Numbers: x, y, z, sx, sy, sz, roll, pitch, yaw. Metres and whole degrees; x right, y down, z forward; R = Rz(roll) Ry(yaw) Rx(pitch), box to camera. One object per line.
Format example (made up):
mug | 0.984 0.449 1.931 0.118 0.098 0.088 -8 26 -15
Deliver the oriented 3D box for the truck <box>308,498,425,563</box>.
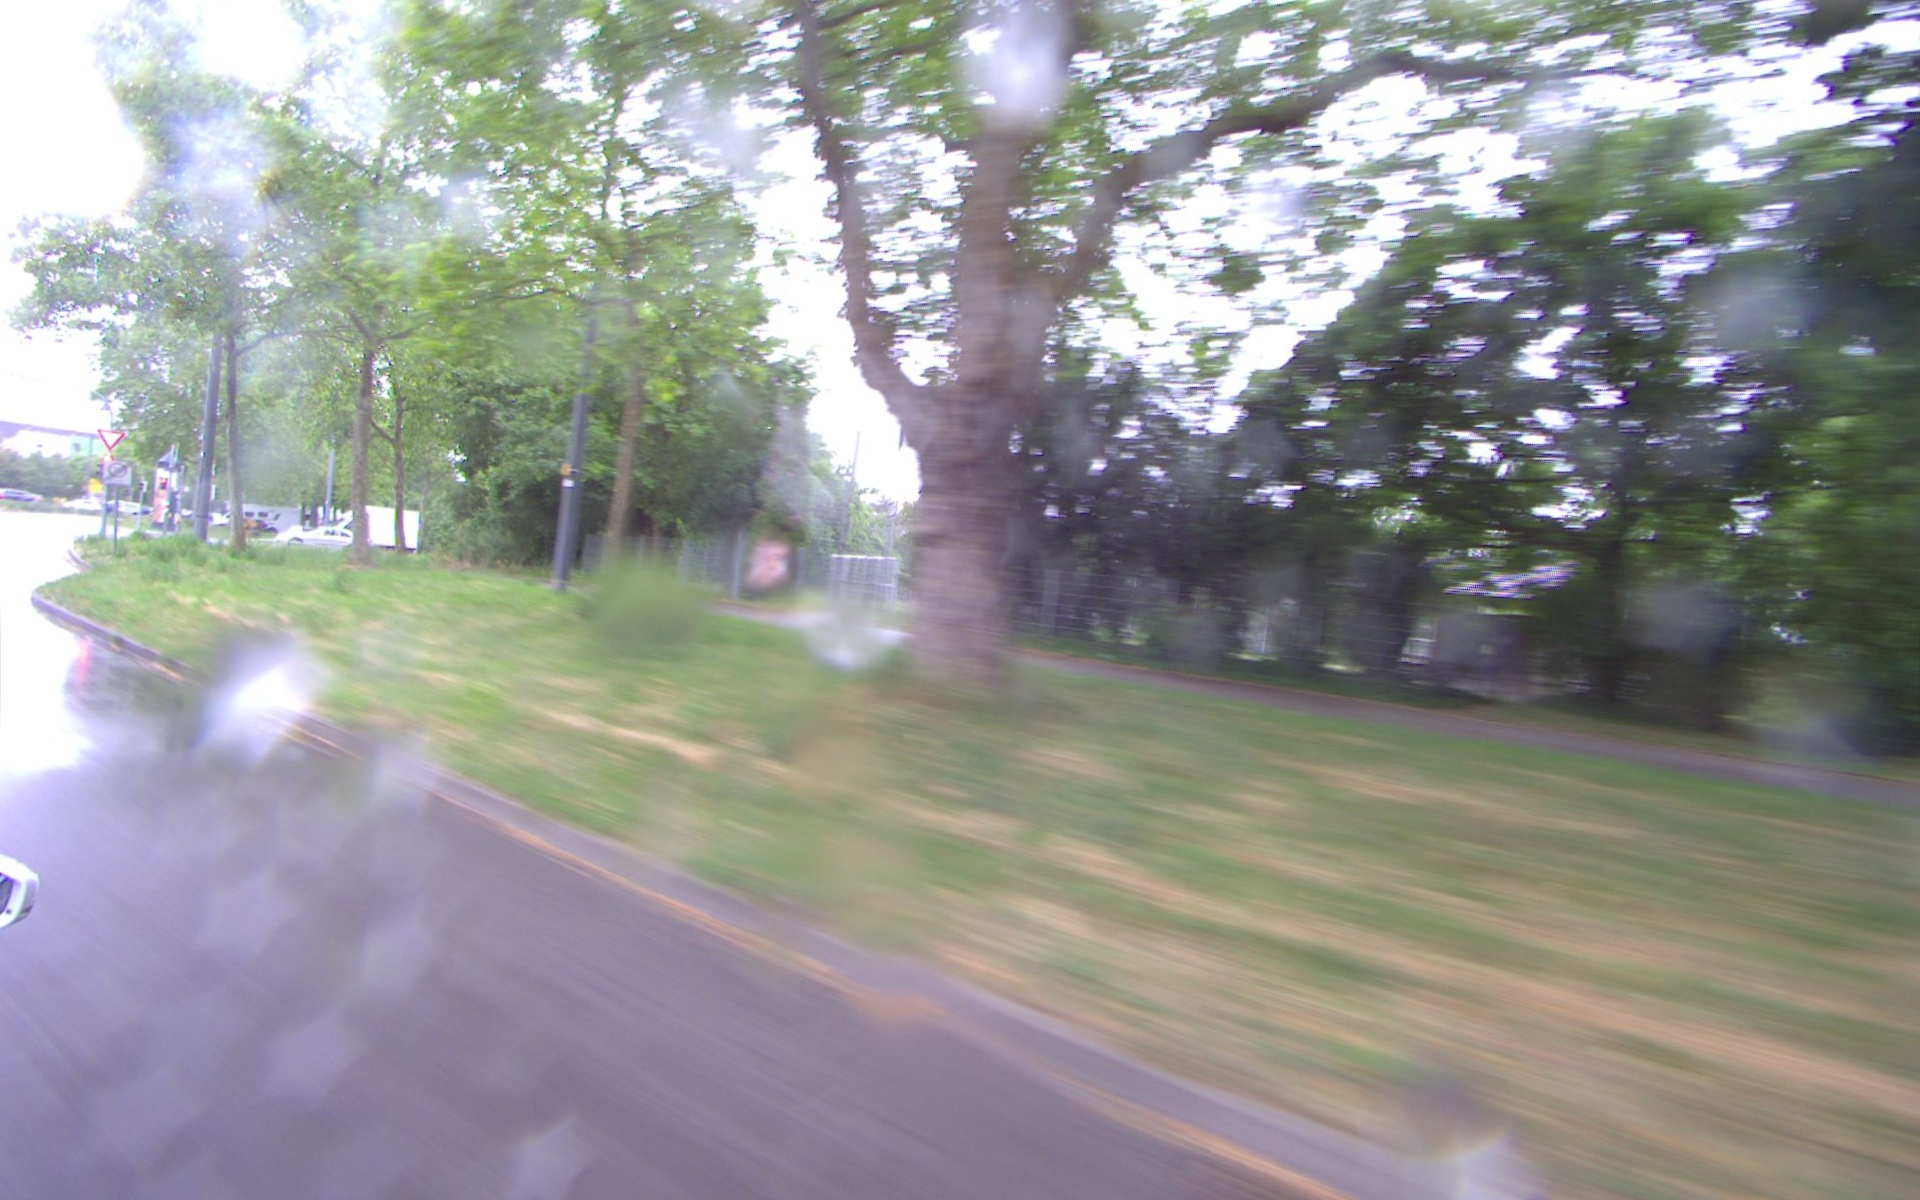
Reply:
truck | -35.140 -4.080 59.713 1.954 3.096 5.459 7 0 42

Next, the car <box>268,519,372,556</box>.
car | -35.110 -3.399 55.296 1.622 1.407 4.504 6 0 42

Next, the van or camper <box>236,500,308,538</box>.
van or camper | -66.345 -7.811 97.063 5.177 2.730 2.228 9 0 -27

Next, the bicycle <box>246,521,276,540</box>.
bicycle | -48.181 -4.769 69.330 0.492 1.115 1.562 7 1 33

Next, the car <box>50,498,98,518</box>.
car | -107.255 -11.152 121.761 1.650 1.883 4.128 7 1 41

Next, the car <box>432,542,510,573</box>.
car | -31.156 -2.707 64.196 1.622 1.407 4.103 6 0 42

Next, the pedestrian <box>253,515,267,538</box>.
pedestrian | -48.189 -5.062 69.269 0.492 1.494 0.576 7 2 34

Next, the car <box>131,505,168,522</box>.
car | -119.004 -12.683 147.717 4.113 1.883 1.656 6 1 -38
